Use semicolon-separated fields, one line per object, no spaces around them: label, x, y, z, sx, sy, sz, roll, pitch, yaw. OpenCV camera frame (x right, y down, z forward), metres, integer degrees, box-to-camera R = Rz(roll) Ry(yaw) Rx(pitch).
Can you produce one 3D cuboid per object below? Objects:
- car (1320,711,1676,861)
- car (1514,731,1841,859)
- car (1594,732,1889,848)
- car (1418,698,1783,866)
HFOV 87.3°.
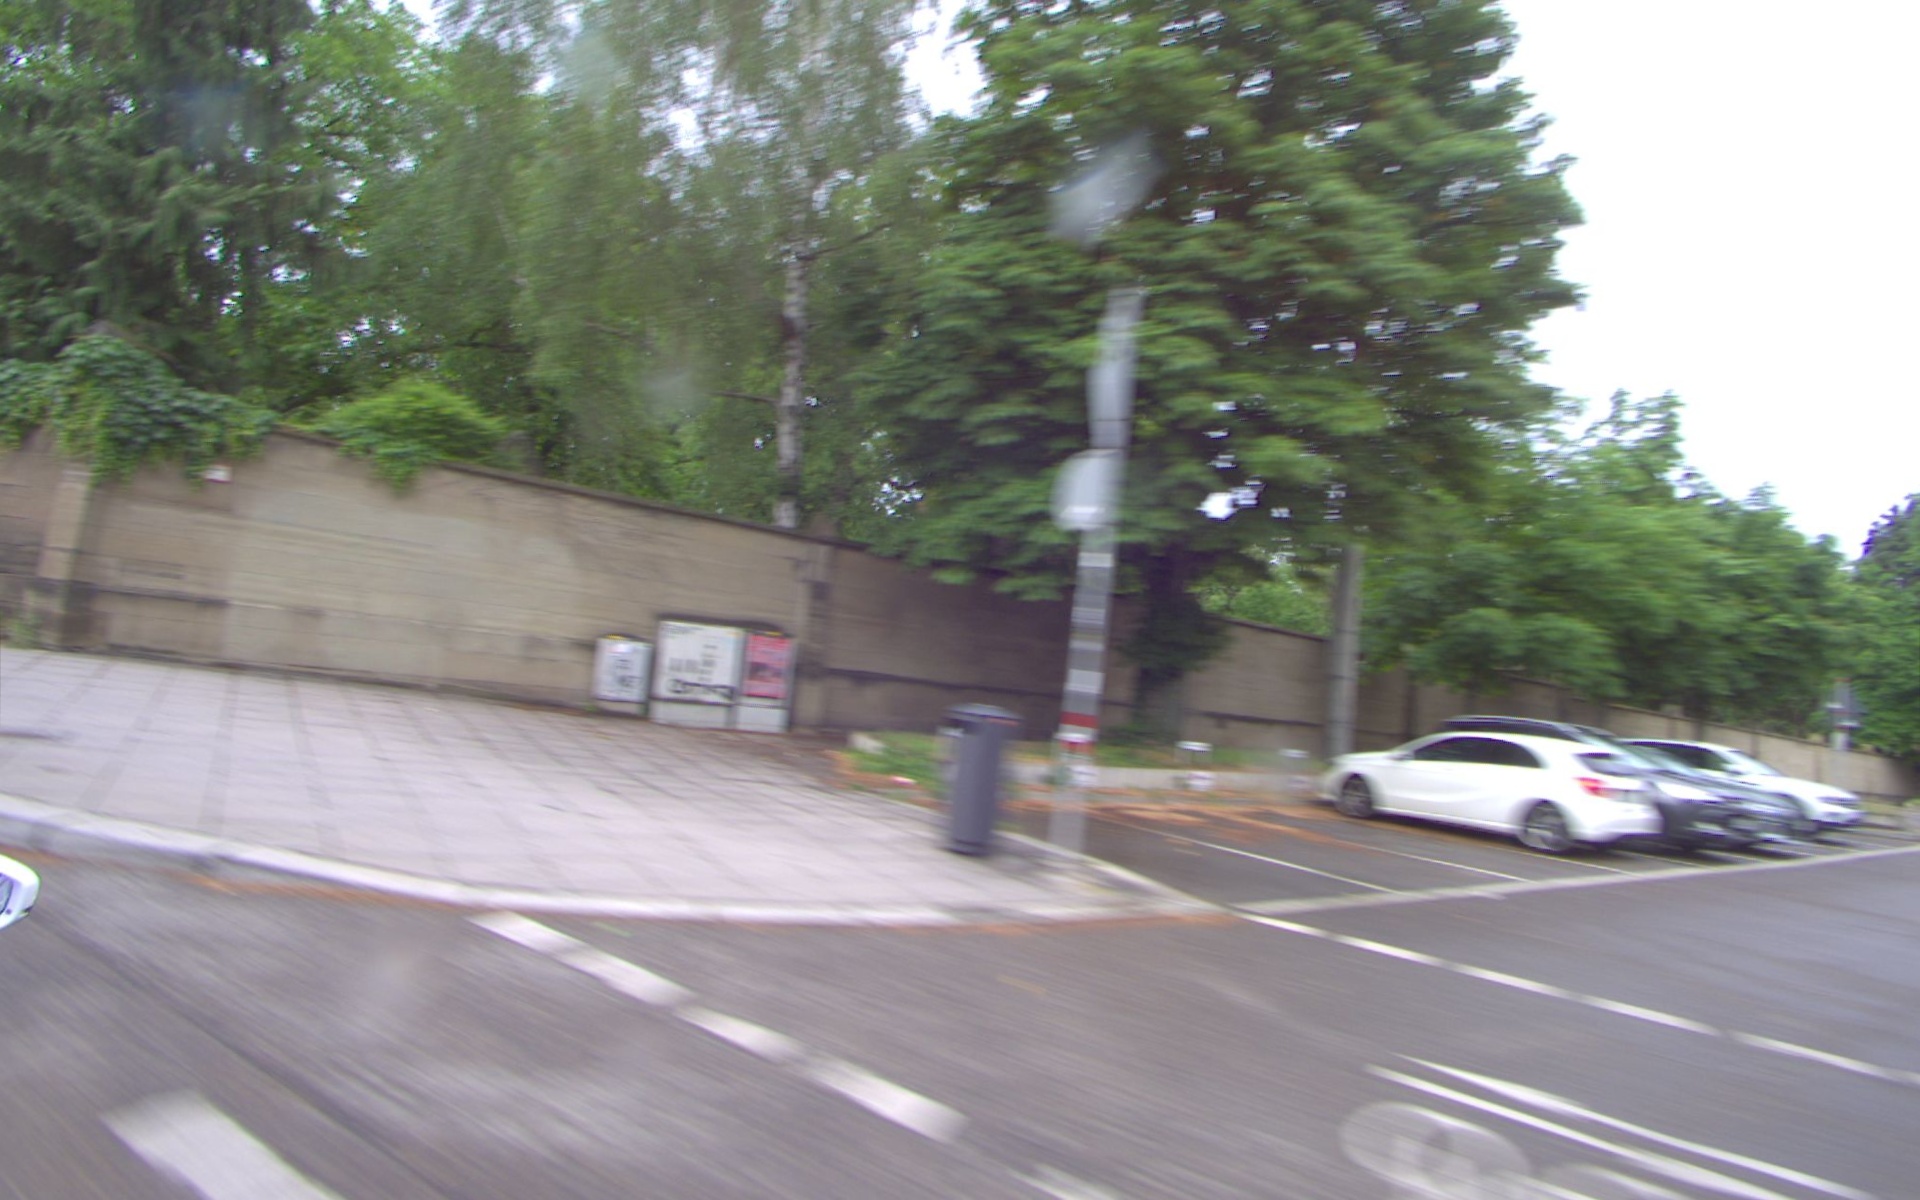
car;7.307;2.496;14.026;1.743;1.421;3.968;9;-5;-34
car;11.589;3.107;16.510;1.773;1.406;3.969;8;-5;-33
car;15.130;3.627;19.696;1.773;1.573;4.185;8;-5;-33
car;9.424;2.616;15.152;1.743;1.822;4.239;8;-5;-34
